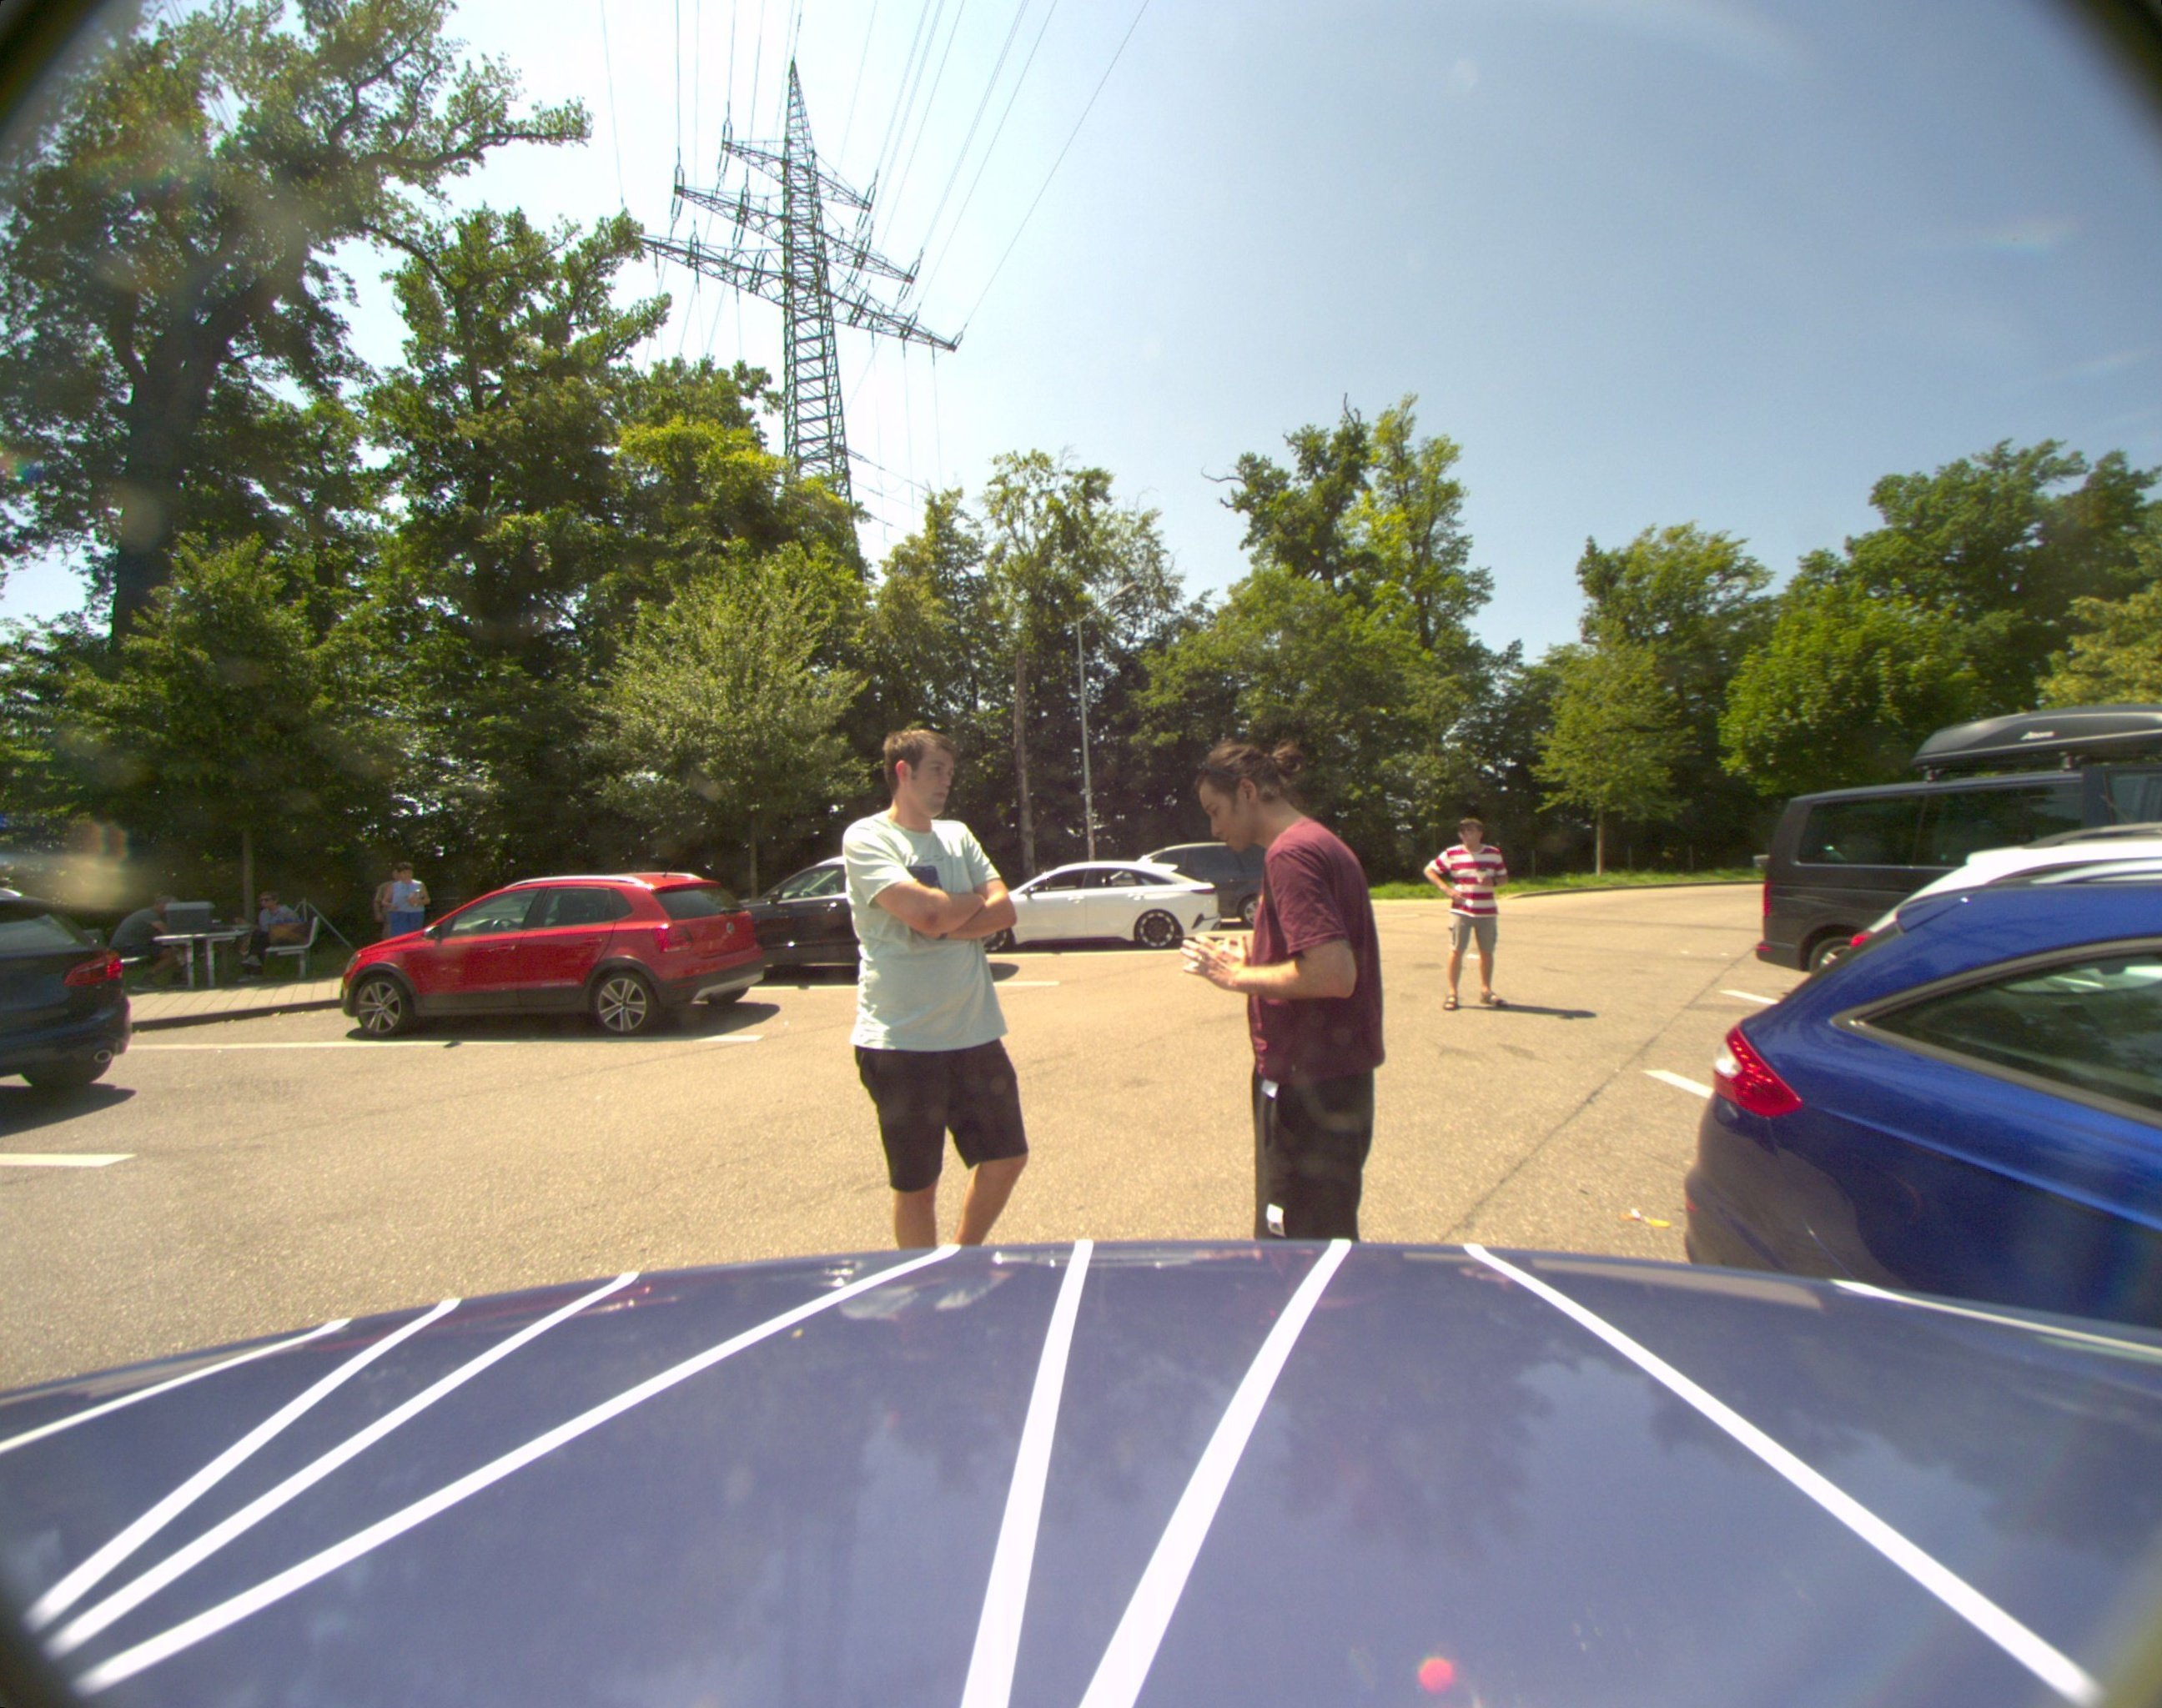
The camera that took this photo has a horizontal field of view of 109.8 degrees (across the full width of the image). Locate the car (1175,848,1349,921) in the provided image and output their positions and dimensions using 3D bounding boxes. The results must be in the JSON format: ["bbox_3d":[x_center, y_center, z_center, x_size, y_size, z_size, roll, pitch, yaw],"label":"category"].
[{"bbox_3d":[4.276,0.704,18.169,3.822,1.551,1.652,-2,1,12],"label":"car"}]

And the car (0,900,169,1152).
[{"bbox_3d":[-9.024,1.168,5.024,4.338,1.544,1.749,-1,1,8],"label":"car"}]

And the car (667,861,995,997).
[{"bbox_3d":[-3.241,0.958,10.318,3.825,1.546,1.651,-2,1,4],"label":"car"}]

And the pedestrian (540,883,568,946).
[{"bbox_3d":[-10.155,1.158,14.643,0.357,1.158,0.384,-3,2,-41],"label":"pedestrian"}]

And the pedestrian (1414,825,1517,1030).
[{"bbox_3d":[3.498,0.625,6.962,0.753,1.744,0.786,-2,1,24],"label":"pedestrian"}]

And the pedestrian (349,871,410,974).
[{"bbox_3d":[-11.481,1.092,12.440,0.648,1.596,0.571,-3,2,-44],"label":"pedestrian"}]

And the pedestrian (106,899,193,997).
[{"bbox_3d":[-12.720,1.264,10.393,0.595,1.238,0.446,-3,1,-33],"label":"pedestrian"}]

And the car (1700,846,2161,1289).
[{"bbox_3d":[4.653,0.728,2.269,1.757,1.496,4.574,-3,-1,-1],"label":"car"}]

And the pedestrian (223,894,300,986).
[{"bbox_3d":[-11.853,1.224,11.006,0.595,1.238,0.499,-3,1,-33],"label":"pedestrian"}]

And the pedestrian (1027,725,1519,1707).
[{"bbox_3d":[0.475,0.714,1.947,0.919,1.894,0.815,-2,1,16],"label":"pedestrian"}]

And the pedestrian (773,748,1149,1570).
[{"bbox_3d":[-0.419,0.711,2.373,0.815,1.939,0.918,-3,1,-29],"label":"pedestrian"}]

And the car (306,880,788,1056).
[{"bbox_3d":[-5.223,1.086,7.689,3.823,1.460,1.651,-2,1,8],"label":"car"}]

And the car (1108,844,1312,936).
[{"bbox_3d":[2.616,0.708,15.474,3.822,1.686,1.652,-2,1,12],"label":"car"}]

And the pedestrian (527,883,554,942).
[{"bbox_3d":[-10.999,1.181,15.459,0.357,1.158,0.384,-3,2,-41],"label":"pedestrian"}]

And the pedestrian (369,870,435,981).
[{"bbox_3d":[-10.335,1.058,11.565,0.648,1.596,0.571,-3,2,-44],"label":"pedestrian"}]

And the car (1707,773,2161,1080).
[{"bbox_3d":[7.382,0.414,5.300,1.758,1.886,4.571,-3,-1,-9],"label":"car"}]

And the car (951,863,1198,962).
[{"bbox_3d":[-0.066,0.930,12.692,3.825,1.394,1.651,-2,1,4],"label":"car"}]
